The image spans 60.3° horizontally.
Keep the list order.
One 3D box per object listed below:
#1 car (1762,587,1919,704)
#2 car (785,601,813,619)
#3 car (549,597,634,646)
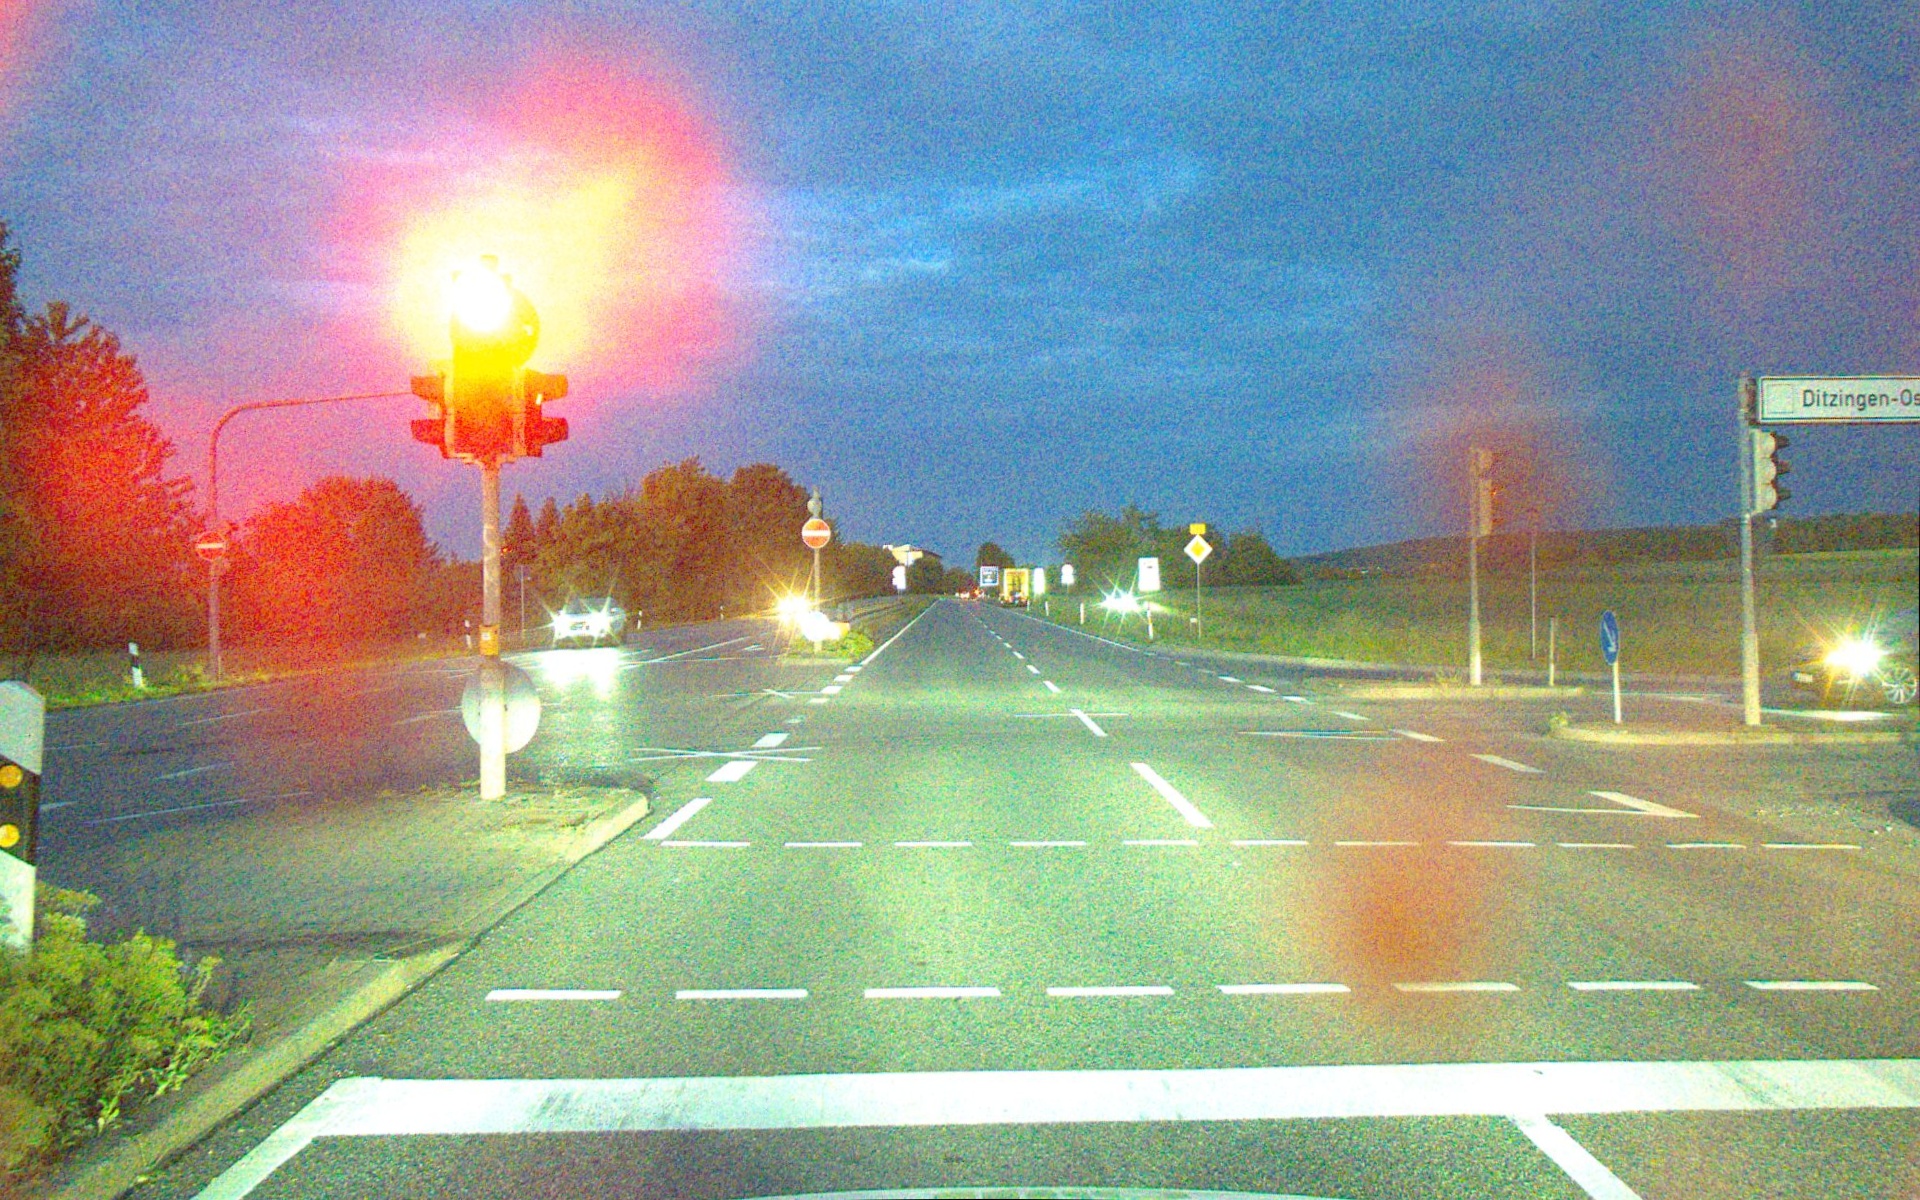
[{"bbox_3d":[14.251,0.582,23.729,4.507,1.547,2.000,-2,0,0],"label":"car"},{"bbox_3d":[-13.094,0.819,134.536,1.953,1.411,3.999,-1,0,-1],"label":"car"},{"bbox_3d":[-12.368,0.691,55.762,1.953,1.545,4.297,-1,0,-1],"label":"car"}]
